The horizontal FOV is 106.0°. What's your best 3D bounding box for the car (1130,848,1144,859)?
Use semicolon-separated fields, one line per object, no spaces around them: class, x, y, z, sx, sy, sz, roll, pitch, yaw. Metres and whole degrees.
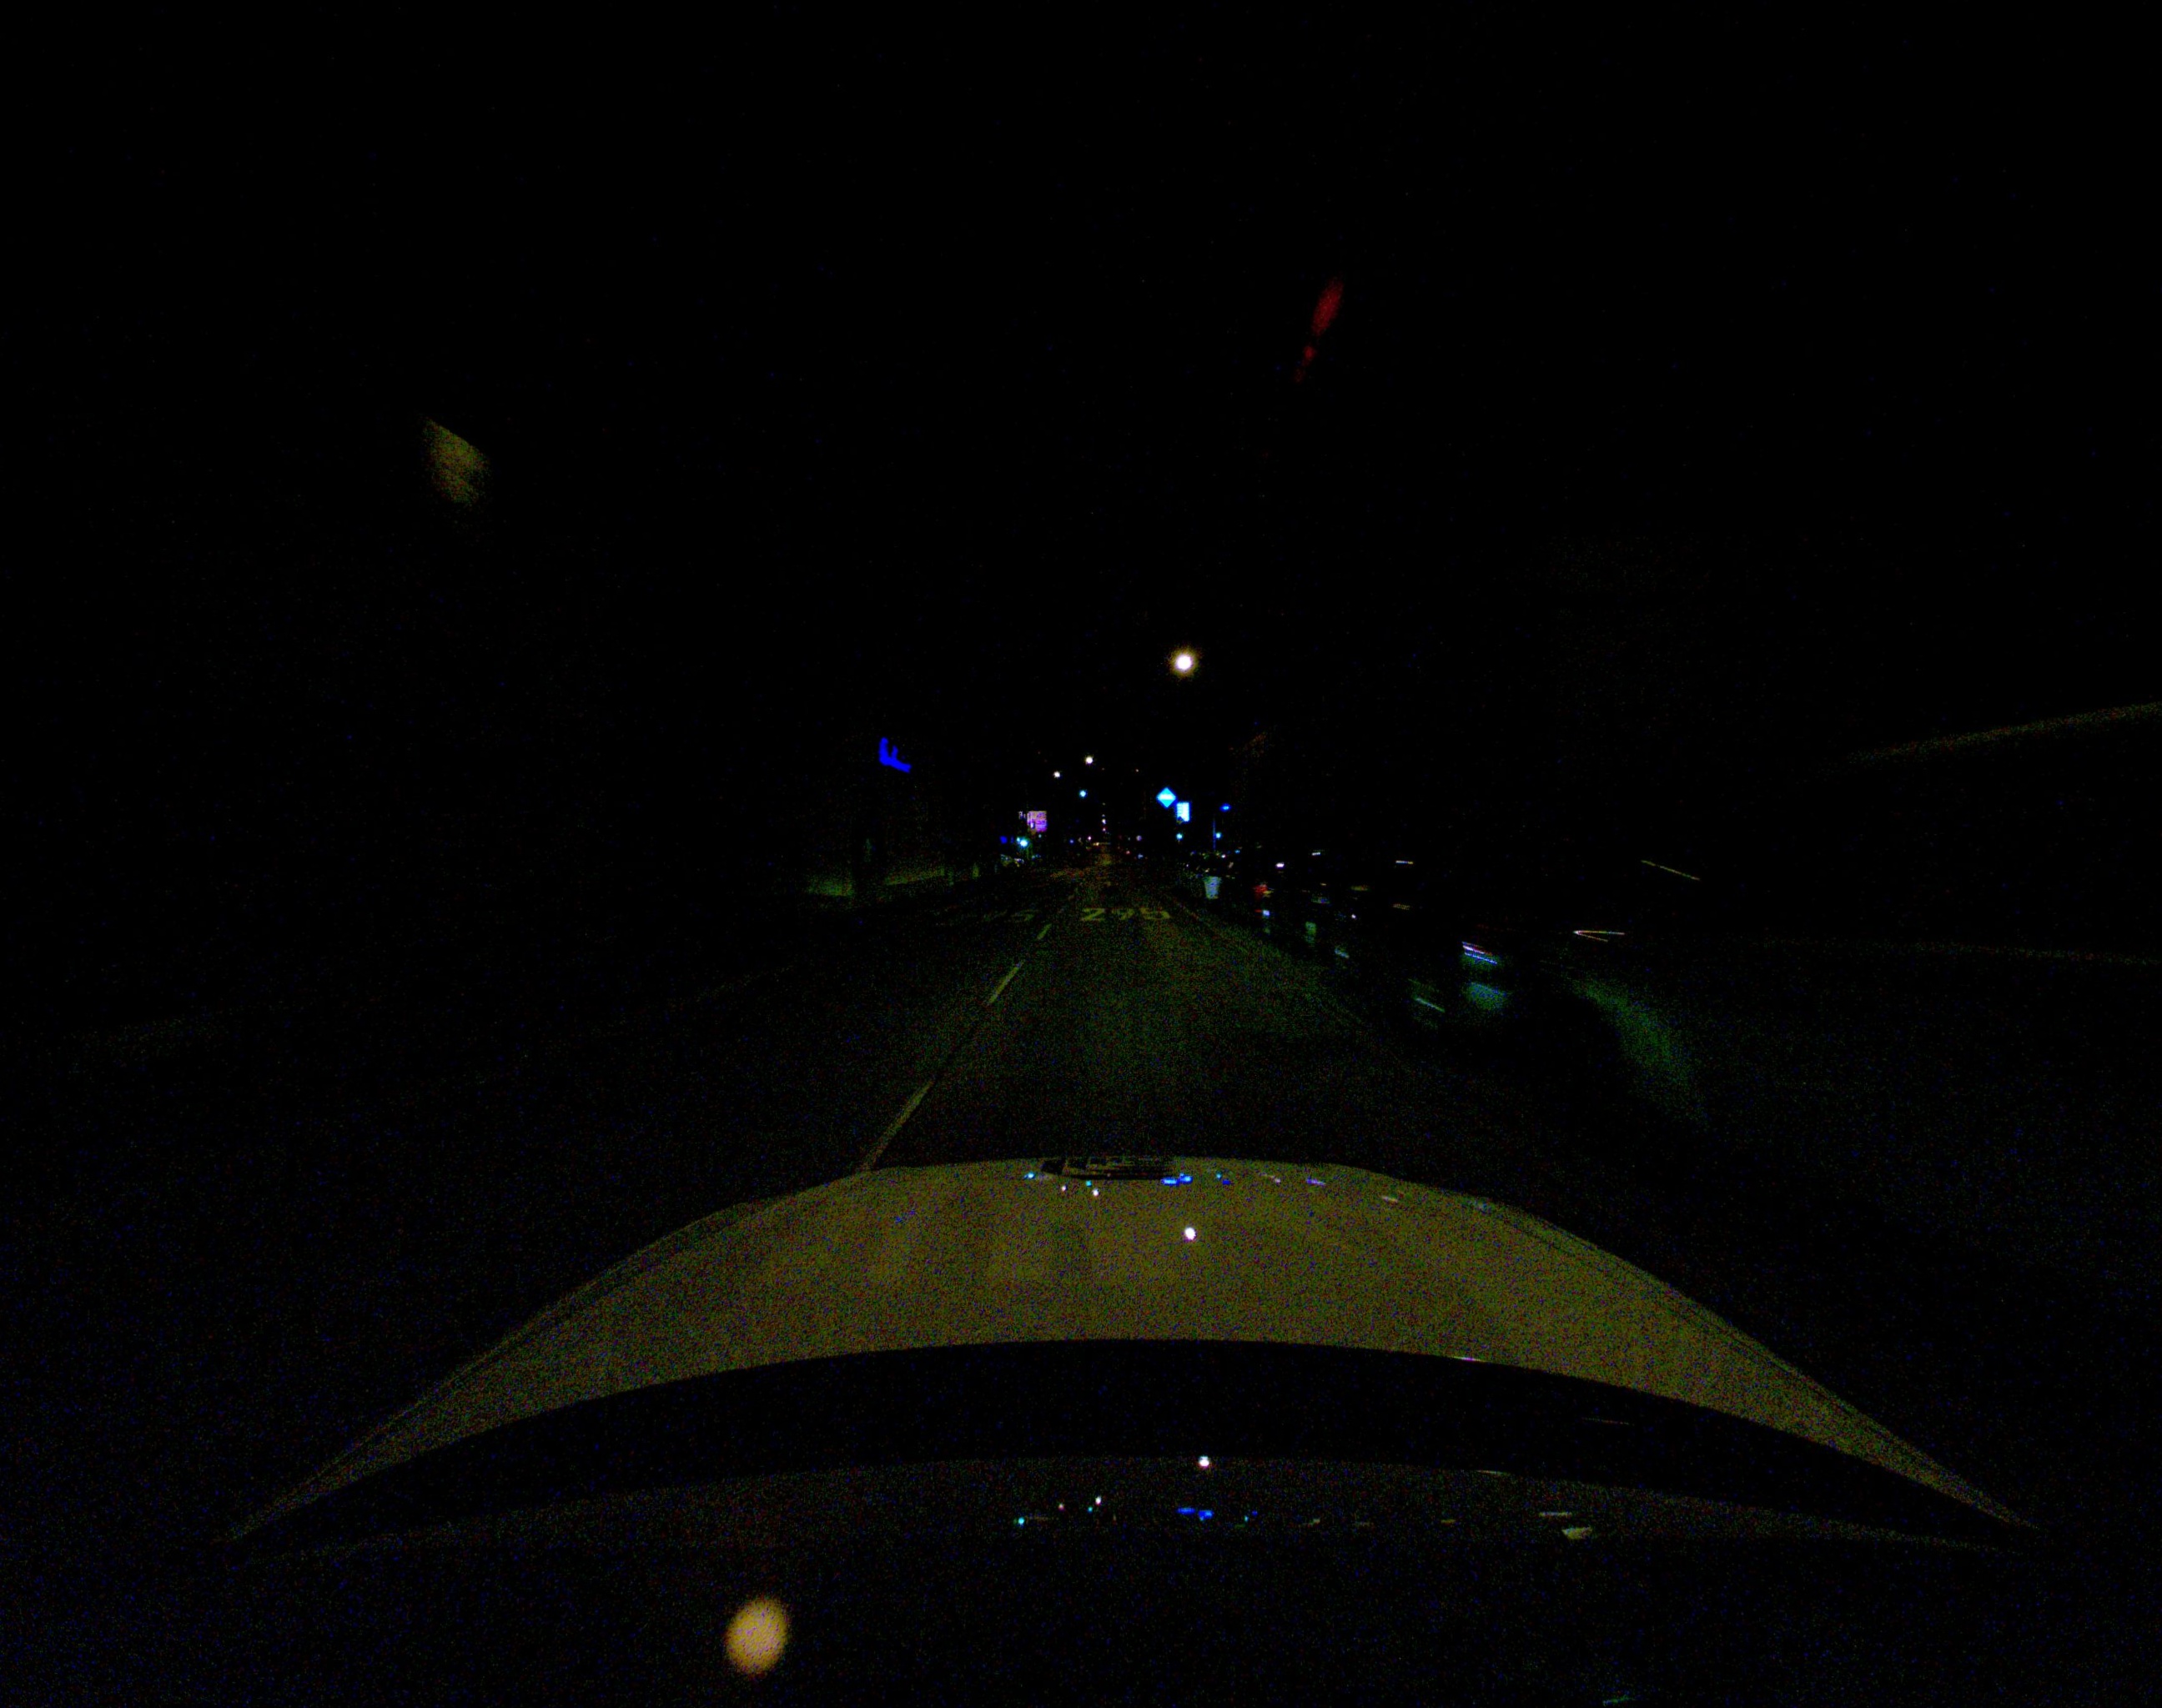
car;8.330;-0.074;121.518;1.985;1.520;4.003;-1;-1;3

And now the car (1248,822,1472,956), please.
car;3.921;0.422;12.372;1.817;1.588;4.629;-2;0;1

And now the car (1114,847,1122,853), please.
car;9.892;-1.076;216.584;1.985;1.520;4.003;-1;-1;3

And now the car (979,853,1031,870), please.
car;-6.881;0.703;73.736;4.423;1.449;2.000;-1;-1;1

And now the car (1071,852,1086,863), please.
car;-0.312;0.565;115.898;1.986;1.502;4.002;-1;-1;2

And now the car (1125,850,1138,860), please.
car;8.012;0.219;128.522;1.985;1.520;4.003;-1;-1;3

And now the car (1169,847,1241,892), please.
car;4.379;0.546;29.465;1.854;1.489;4.545;-1;-1;-1

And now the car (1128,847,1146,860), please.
car;7.048;-0.015;103.081;1.987;1.596;4.000;0;0;1

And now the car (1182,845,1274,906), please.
car;4.062;0.575;23.194;1.769;1.544;4.545;-1;-1;-1

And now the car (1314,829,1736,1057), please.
car;3.496;0.583;7.432;1.808;1.427;4.194;-3;0;5

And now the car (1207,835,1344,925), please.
car;4.008;0.474;17.534;1.818;1.623;4.457;-2;0;0

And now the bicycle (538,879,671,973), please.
bicycle;-5.989;0.861;10.360;0.617;1.052;1.723;-1;-1;2

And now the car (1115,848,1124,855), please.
car;9.116;-0.658;193.505;1.985;1.520;4.003;-1;-1;3

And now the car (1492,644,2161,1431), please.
car;3.454;0.398;2.653;1.794;1.875;4.774;-3;0;1

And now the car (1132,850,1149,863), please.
car;7.123;0.270;97.333;1.985;1.516;4.004;0;0;3

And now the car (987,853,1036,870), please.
car;-6.501;0.698;76.769;4.424;1.449;2.000;-1;-1;0
